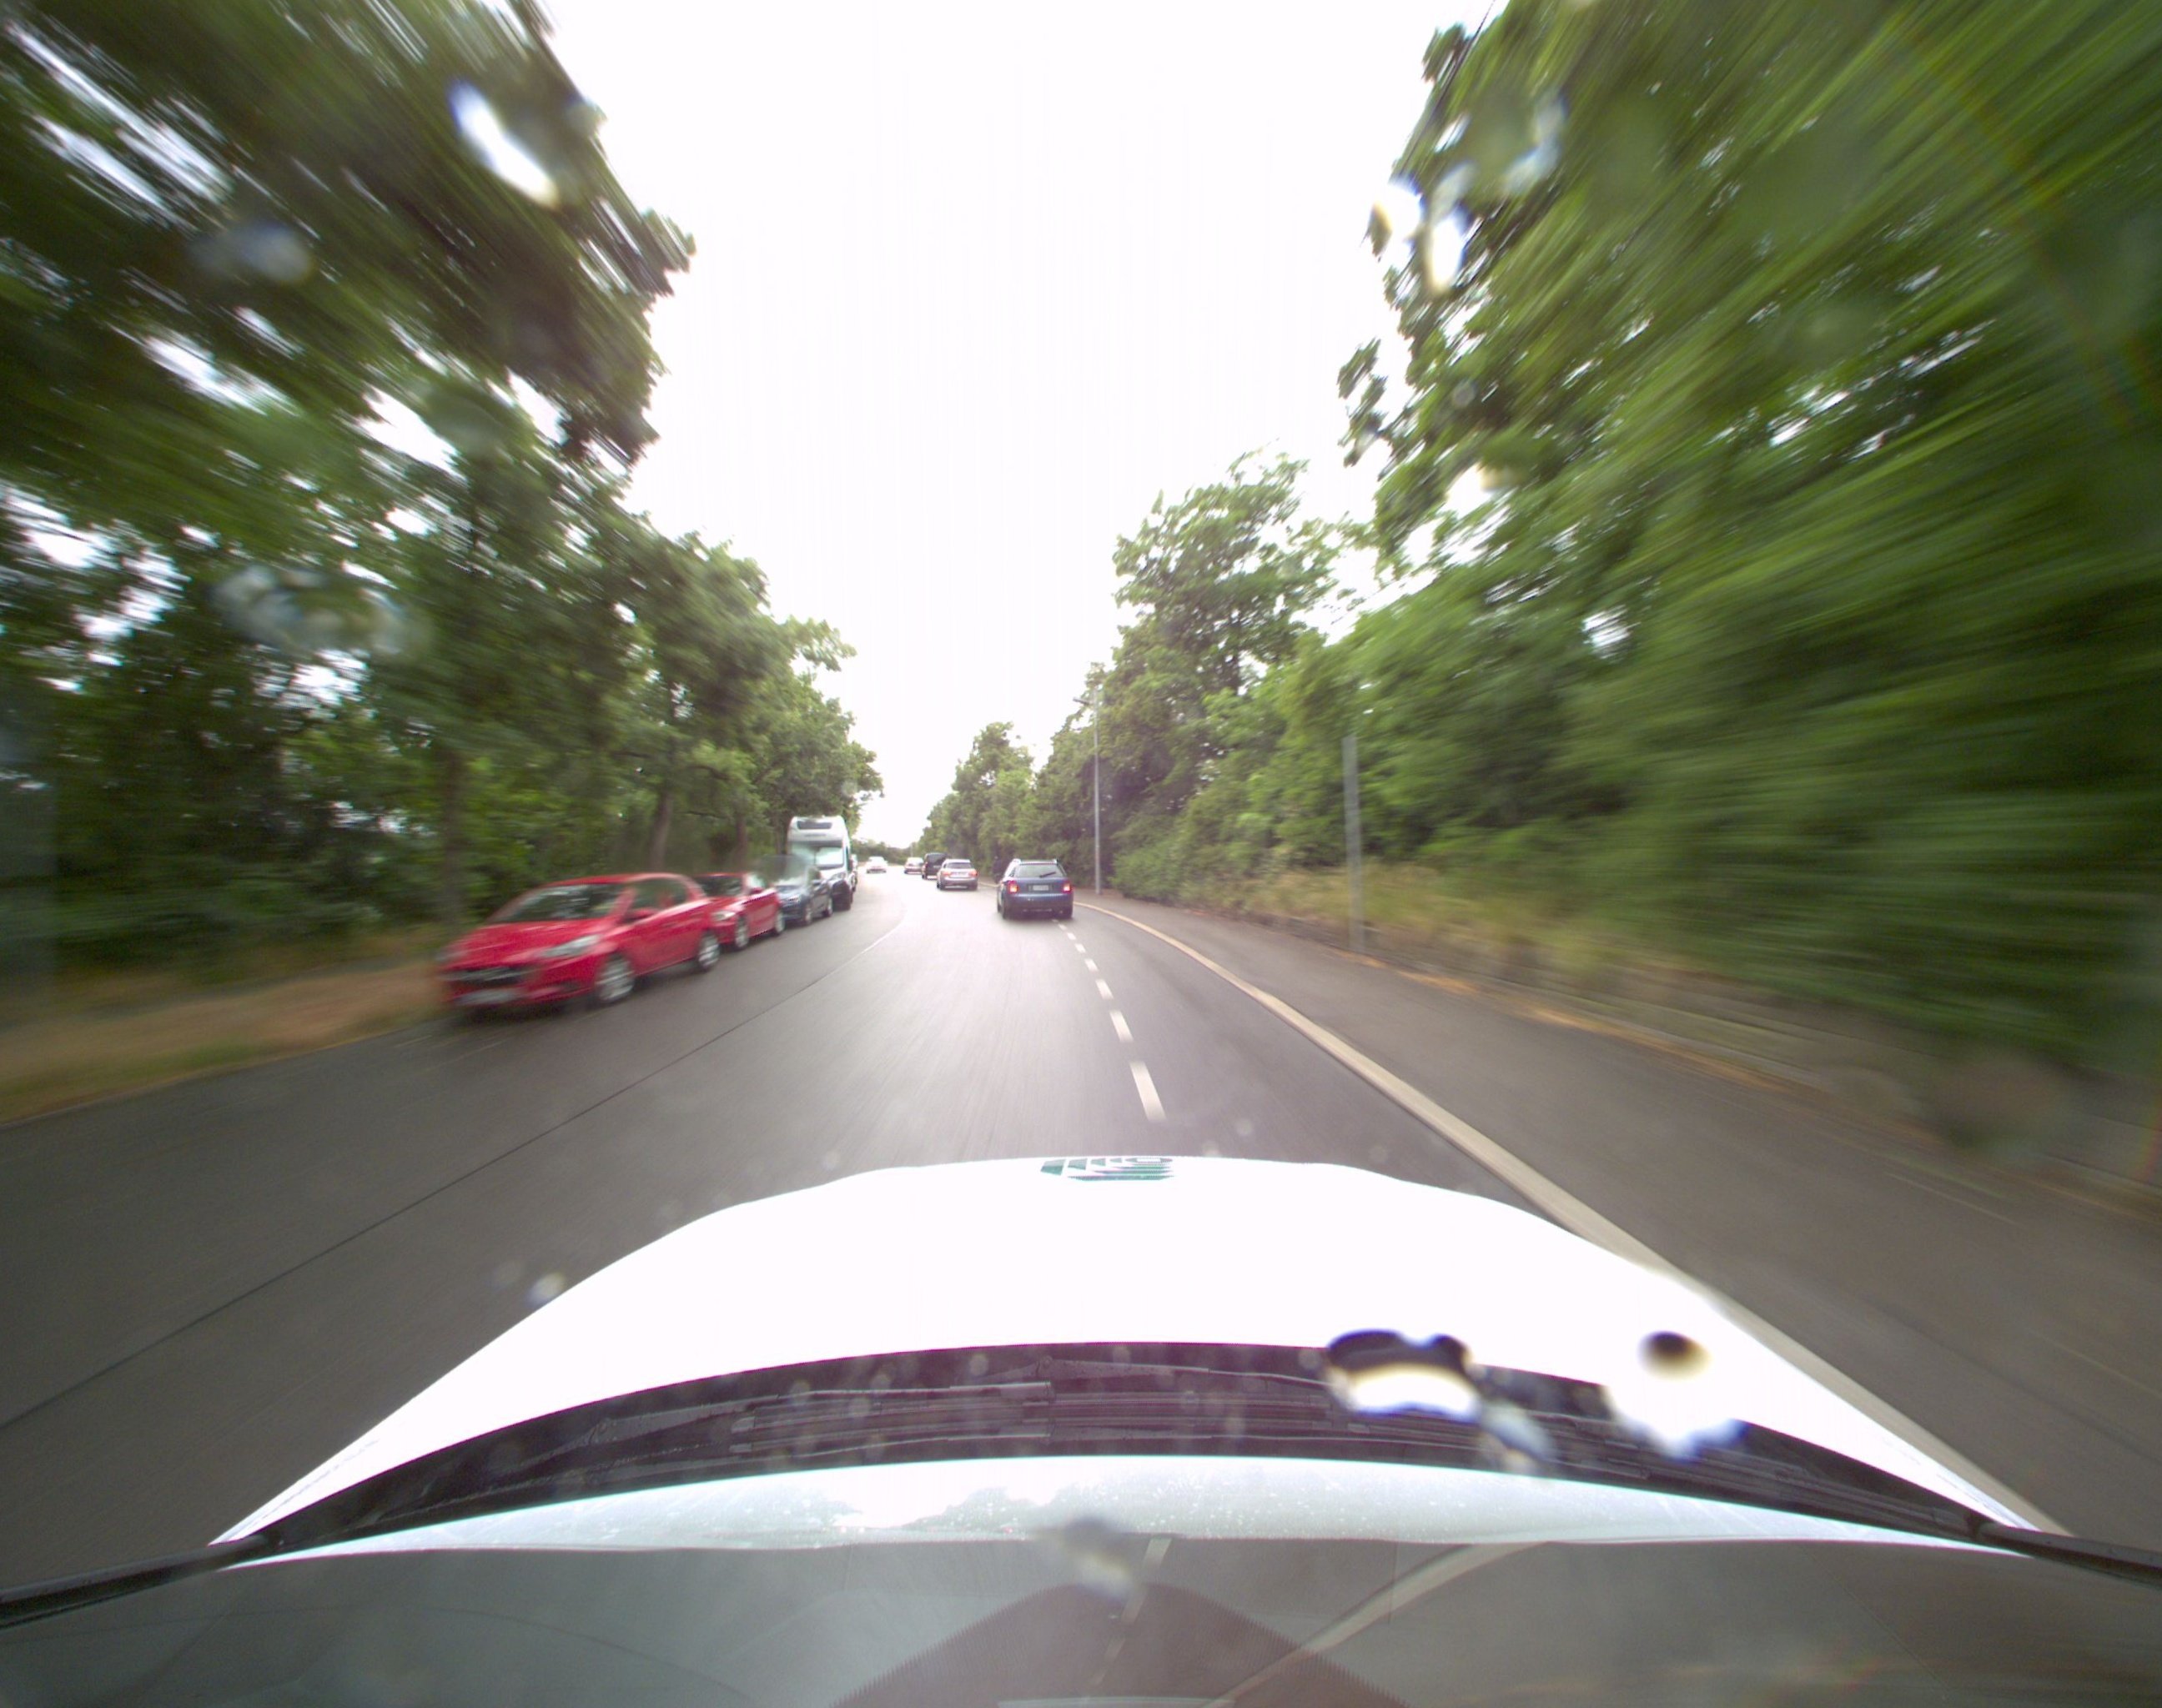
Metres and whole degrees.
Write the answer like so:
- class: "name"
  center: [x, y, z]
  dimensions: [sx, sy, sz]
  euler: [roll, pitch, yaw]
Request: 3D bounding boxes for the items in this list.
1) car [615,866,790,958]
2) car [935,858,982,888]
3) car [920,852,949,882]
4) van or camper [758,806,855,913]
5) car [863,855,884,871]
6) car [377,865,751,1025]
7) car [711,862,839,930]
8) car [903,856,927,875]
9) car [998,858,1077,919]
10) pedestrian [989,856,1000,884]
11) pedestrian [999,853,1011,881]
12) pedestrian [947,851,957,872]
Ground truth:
- class: "car"
  center: [-7.147, 1.022, 15.811]
  dimensions: [1.952, 1.408, 3.537]
  euler: [-3, 0, -6]
- class: "car"
  center: [-6.052, 0.895, 40.059]
  dimensions: [1.894, 1.389, 3.980]
  euler: [-1, 0, -14]
- class: "car"
  center: [-10.537, 0.954, 58.365]
  dimensions: [1.791, 1.953, 3.981]
  euler: [-4, -1, -13]
- class: "van or camper"
  center: [-8.926, 0.193, 27.105]
  dimensions: [2.510, 3.026, 6.528]
  euler: [-3, 0, -15]
- class: "car"
  center: [-19.483, 0.834, 76.358]
  dimensions: [1.887, 1.402, 4.233]
  euler: [-1, -1, -15]
- class: "car"
  center: [-6.303, 0.974, 10.767]
  dimensions: [1.948, 1.461, 4.574]
  euler: [-3, 0, 0]
- class: "car"
  center: [-7.652, 0.986, 20.823]
  dimensions: [1.952, 1.408, 4.199]
  euler: [-3, 0, -6]
- class: "car"
  center: [-14.929, 1.032, 72.989]
  dimensions: [1.825, 1.617, 3.765]
  euler: [-1, 0, -16]
- class: "car"
  center: [-1.230, 0.820, 21.178]
  dimensions: [1.746, 1.407, 3.989]
  euler: [0, 0, -8]
- class: "pedestrian"
  center: [-4.899, 0.882, 46.078]
  dimensions: [0.552, 1.566, 0.485]
  euler: [-2, 0, -11]
- class: "pedestrian"
  center: [-4.292, 0.755, 46.154]
  dimensions: [0.595, 1.566, 0.666]
  euler: [0, 0, -11]
- class: "pedestrian"
  center: [-11.703, 0.675, 73.696]
  dimensions: [0.717, 1.835, 1.016]
  euler: [-2, 0, -14]
